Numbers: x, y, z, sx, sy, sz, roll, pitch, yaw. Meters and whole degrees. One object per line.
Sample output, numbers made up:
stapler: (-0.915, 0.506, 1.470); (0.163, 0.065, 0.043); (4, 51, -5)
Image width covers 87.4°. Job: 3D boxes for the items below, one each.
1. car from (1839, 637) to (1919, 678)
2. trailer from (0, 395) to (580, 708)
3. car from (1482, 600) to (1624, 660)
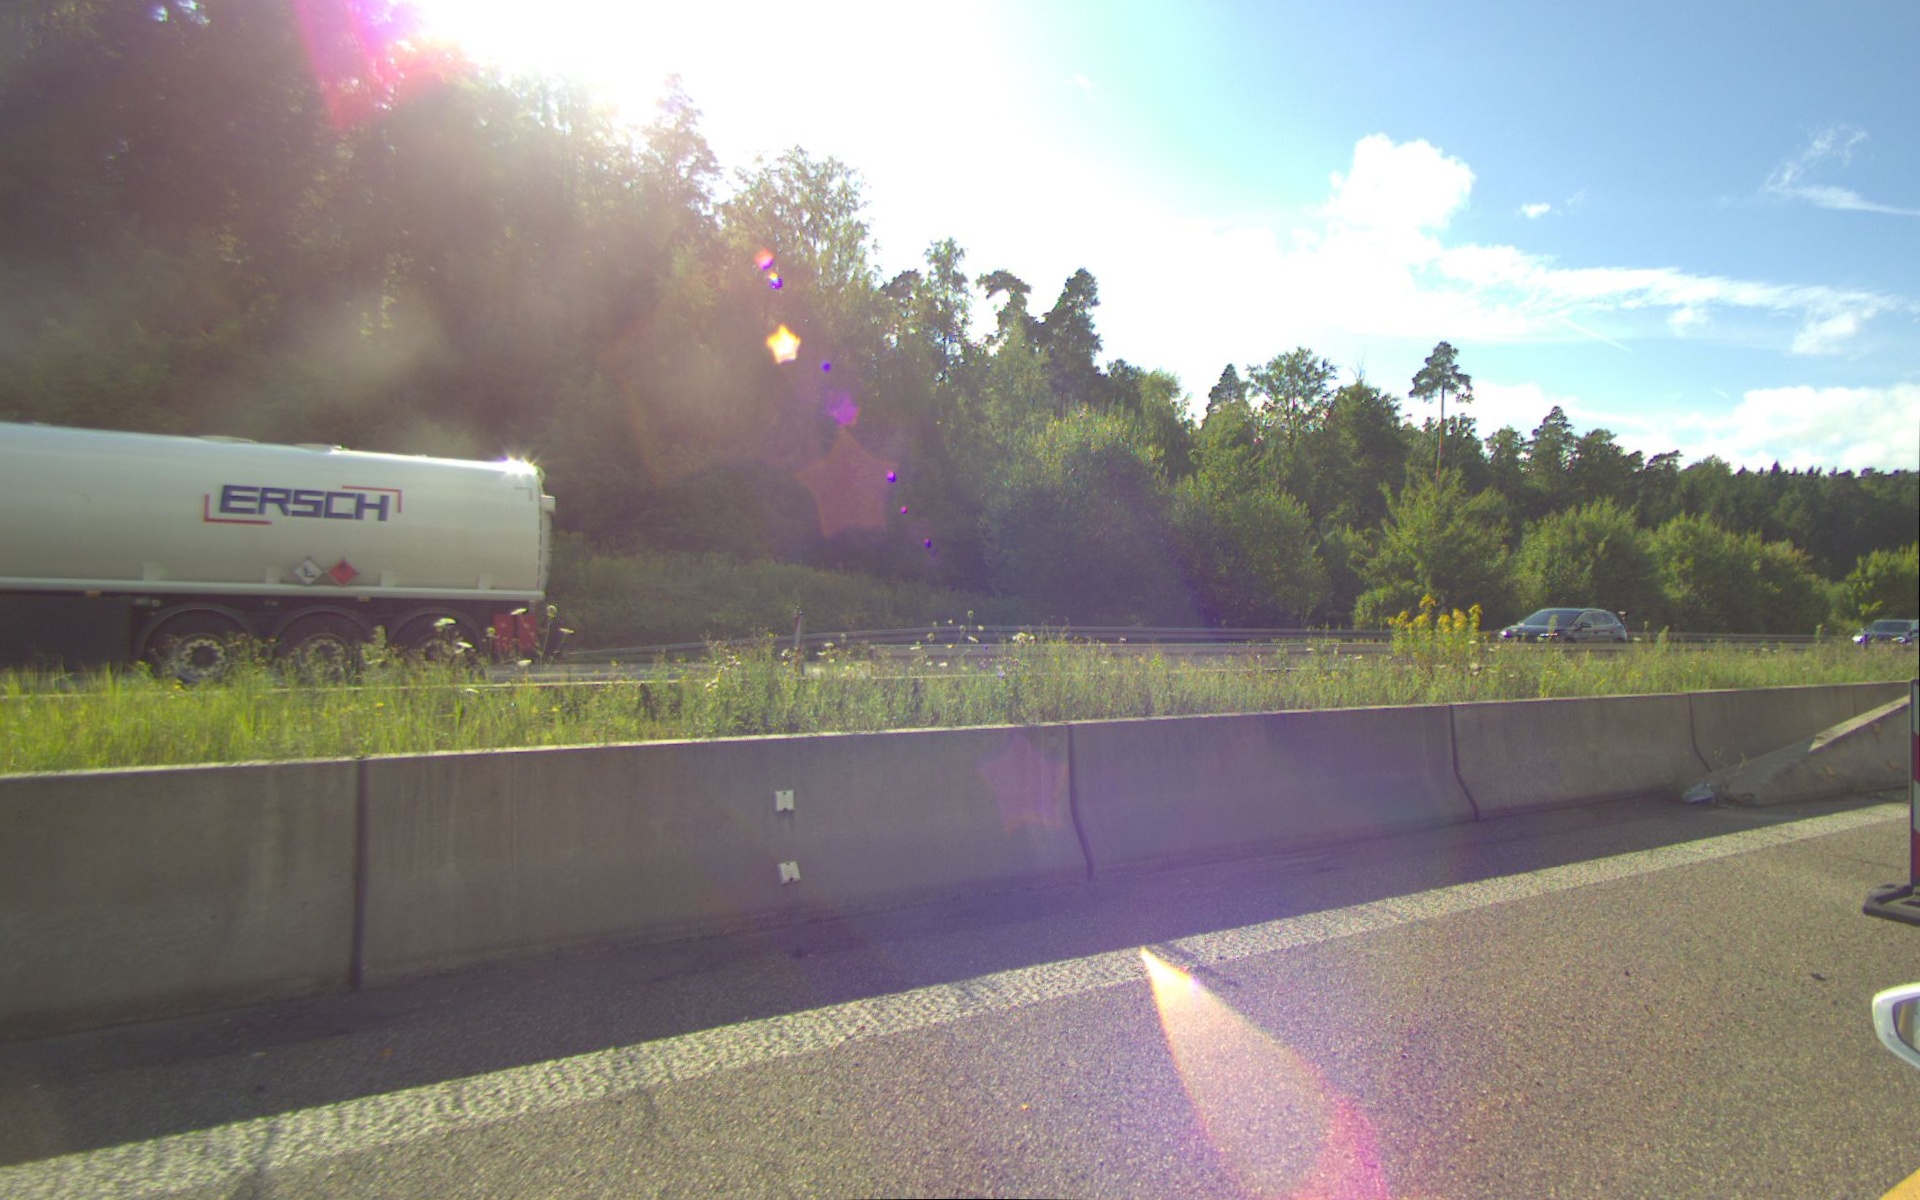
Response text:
car: (40.363, 2.454, 43.617); (4.429, 1.610, 1.949); (2, 0, -30)
trailer: (-10.902, -0.544, 12.878); (10.977, 3.536, 2.790); (2, 0, -29)
car: (17.244, 0.868, 29.200); (3.968, 1.624, 1.770); (2, 0, -29)
